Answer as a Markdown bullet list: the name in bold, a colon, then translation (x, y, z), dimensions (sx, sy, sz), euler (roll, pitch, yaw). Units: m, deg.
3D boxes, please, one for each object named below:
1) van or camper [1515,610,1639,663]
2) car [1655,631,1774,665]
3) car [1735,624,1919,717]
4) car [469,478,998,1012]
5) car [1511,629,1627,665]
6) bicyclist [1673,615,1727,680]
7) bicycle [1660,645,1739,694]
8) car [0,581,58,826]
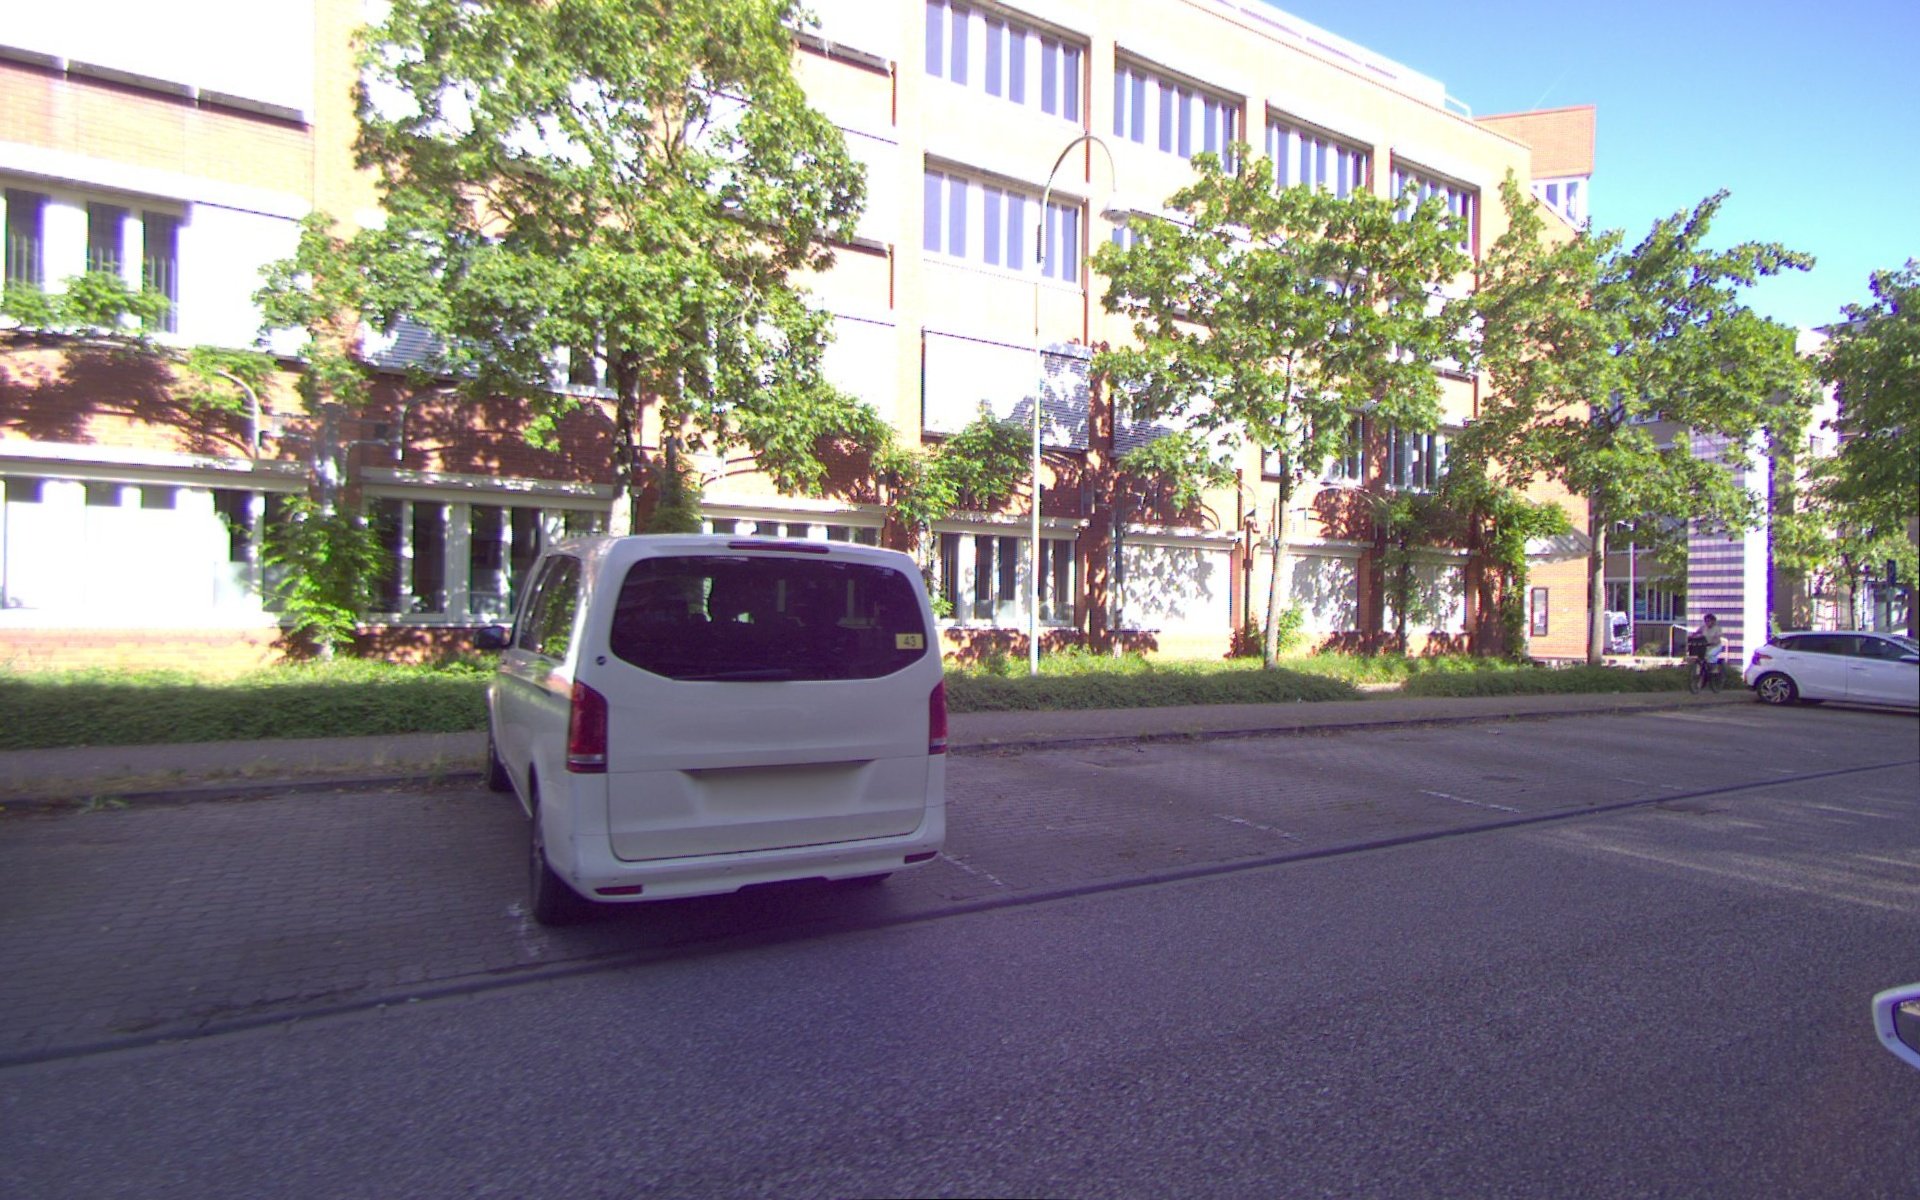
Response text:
- **van or camper**: translation (33.288, 1.933, 54.347), dimensions (2.155, 2.710, 5.344), euler (0, -1, -30)
- **car**: translation (36.366, 2.289, 48.518), dimensions (1.976, 1.496, 4.173), euler (0, -1, -29)
- **car**: translation (16.814, 1.251, 18.243), dimensions (1.786, 1.506, 3.967), euler (1, 0, -30)
- **car**: translation (-1.947, 0.509, 6.510), dimensions (1.919, 1.993, 5.234), euler (1, 1, -29)
- **car**: translation (27.904, 2.161, 46.135), dimensions (1.976, 1.496, 4.174), euler (5, -4, -29)
- **bicyclist**: translation (16.044, 1.027, 21.792), dimensions (0.901, 1.371, 0.603), euler (1, -1, -26)
- **bicycle**: translation (16.041, 1.490, 21.778), dimensions (1.839, 0.994, 0.603), euler (1, -1, -26)
- **car**: translation (-6.205, 0.646, 4.673), dimensions (1.918, 1.497, 4.304), euler (1, 1, -27)
